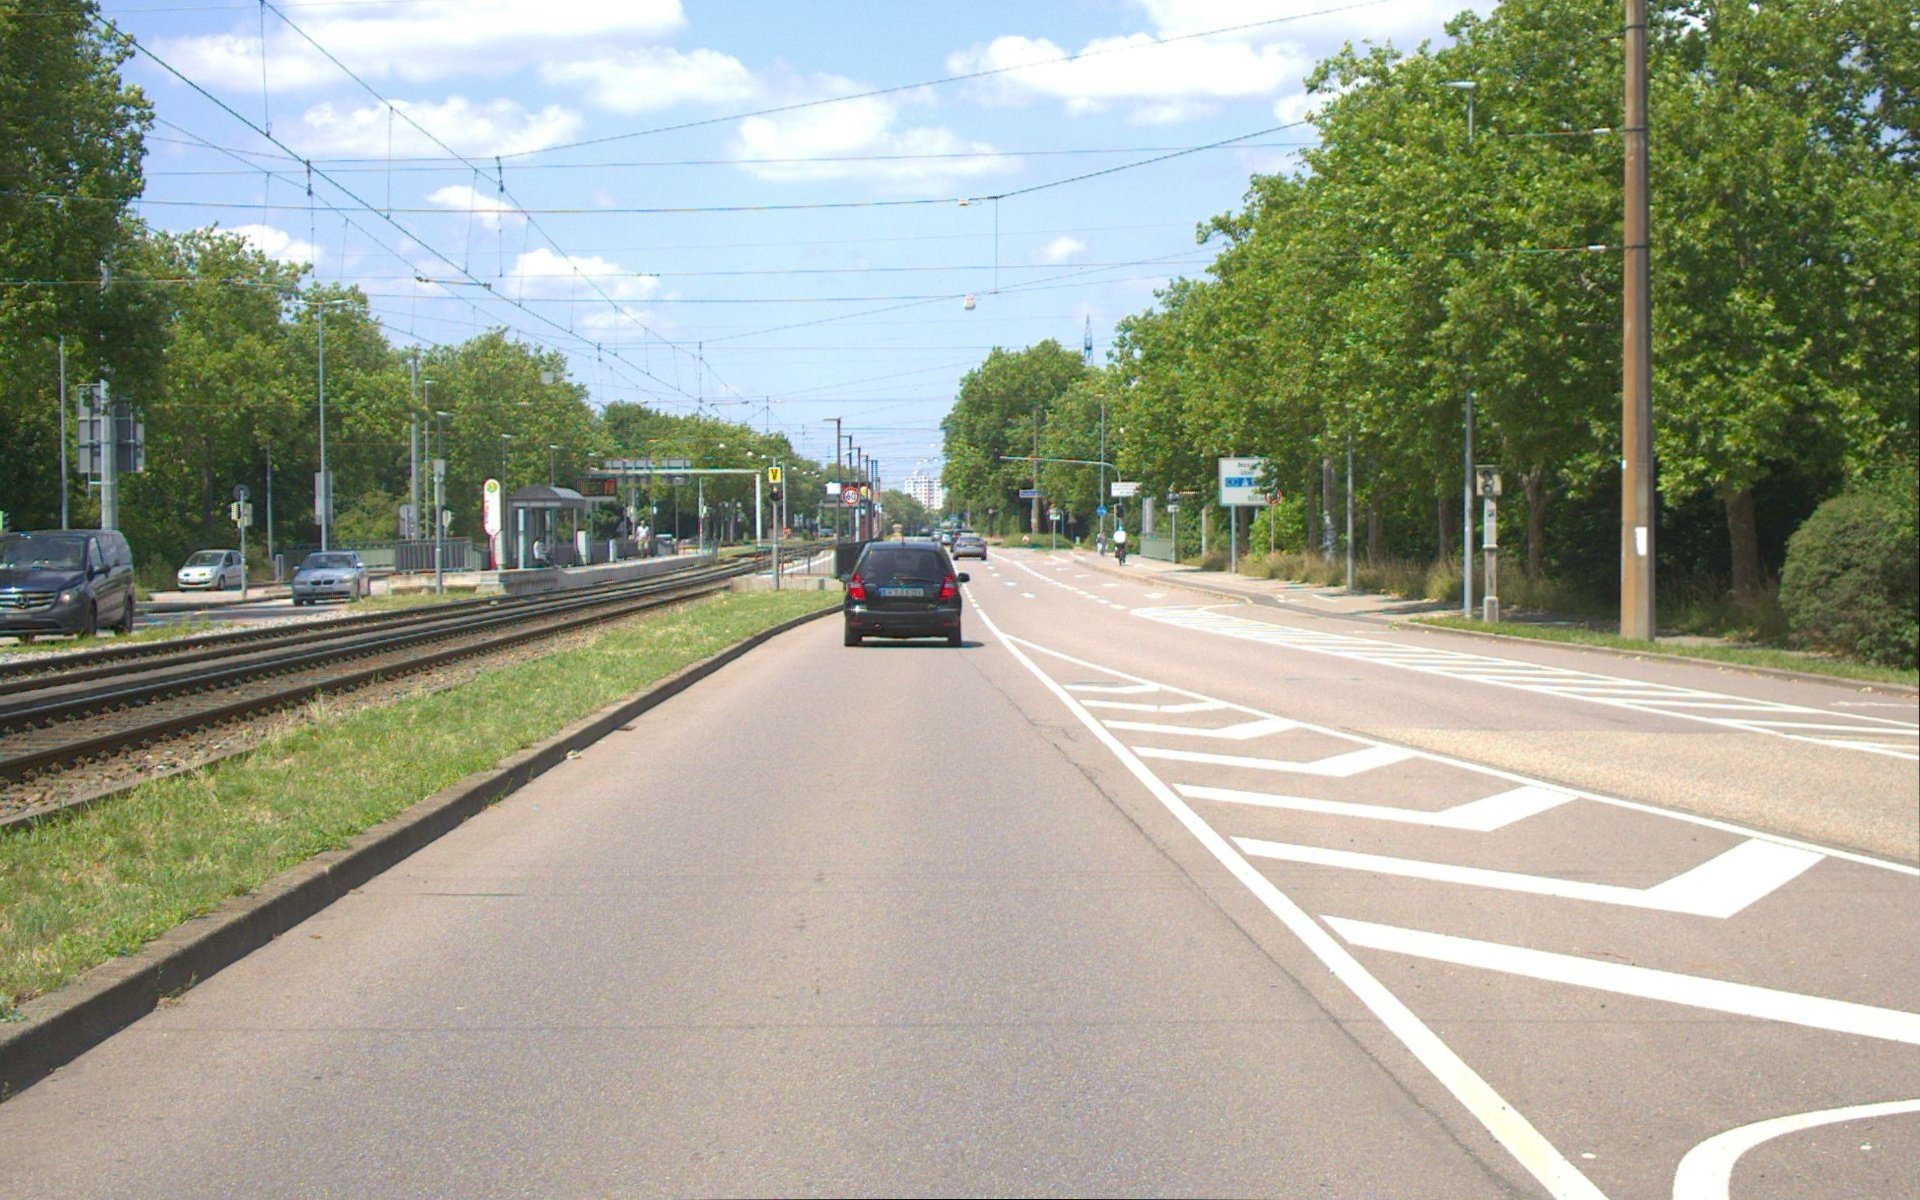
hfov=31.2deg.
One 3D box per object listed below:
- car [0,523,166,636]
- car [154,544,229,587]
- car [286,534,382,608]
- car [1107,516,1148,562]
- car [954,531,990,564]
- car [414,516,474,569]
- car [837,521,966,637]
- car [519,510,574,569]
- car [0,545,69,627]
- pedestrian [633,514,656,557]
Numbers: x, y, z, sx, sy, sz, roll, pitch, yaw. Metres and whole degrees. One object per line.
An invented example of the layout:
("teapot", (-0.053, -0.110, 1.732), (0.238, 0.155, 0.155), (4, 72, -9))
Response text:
("car", (-14.865, -0.373, 57.247), (2.117, 1.784, 5.406), (0, 1, -1))
("car", (-29.322, -1.331, 131.271), (1.993, 1.568, 4.000), (0, 1, 0))
("car", (-17.477, -0.828, 96.149), (1.993, 2.007, 4.000), (0, 1, -1))
("car", (7.567, -2.771, 155.571), (1.612, 2.006, 3.440), (1, 2, -1))
("car", (0.678, -2.926, 191.372), (1.885, 1.634, 4.000), (4, 2, 0))
("car", (-20.852, -2.327, 139.038), (1.993, 2.006, 4.001), (1, 2, -3))
("car", (-0.855, -0.358, 52.581), (1.853, 1.564, 4.389), (1, 3, 0))
("car", (-14.889, -2.184, 123.927), (1.585, 2.006, 4.111), (1, 2, -2))
("car", (-19.259, -0.311, 68.567), (1.993, 1.568, 4.000), (0, 1, -1))
("pedestrian", (-14.900, -3.041, 162.311), (0.952, 2.006, 0.892), (1, 2, -1))
